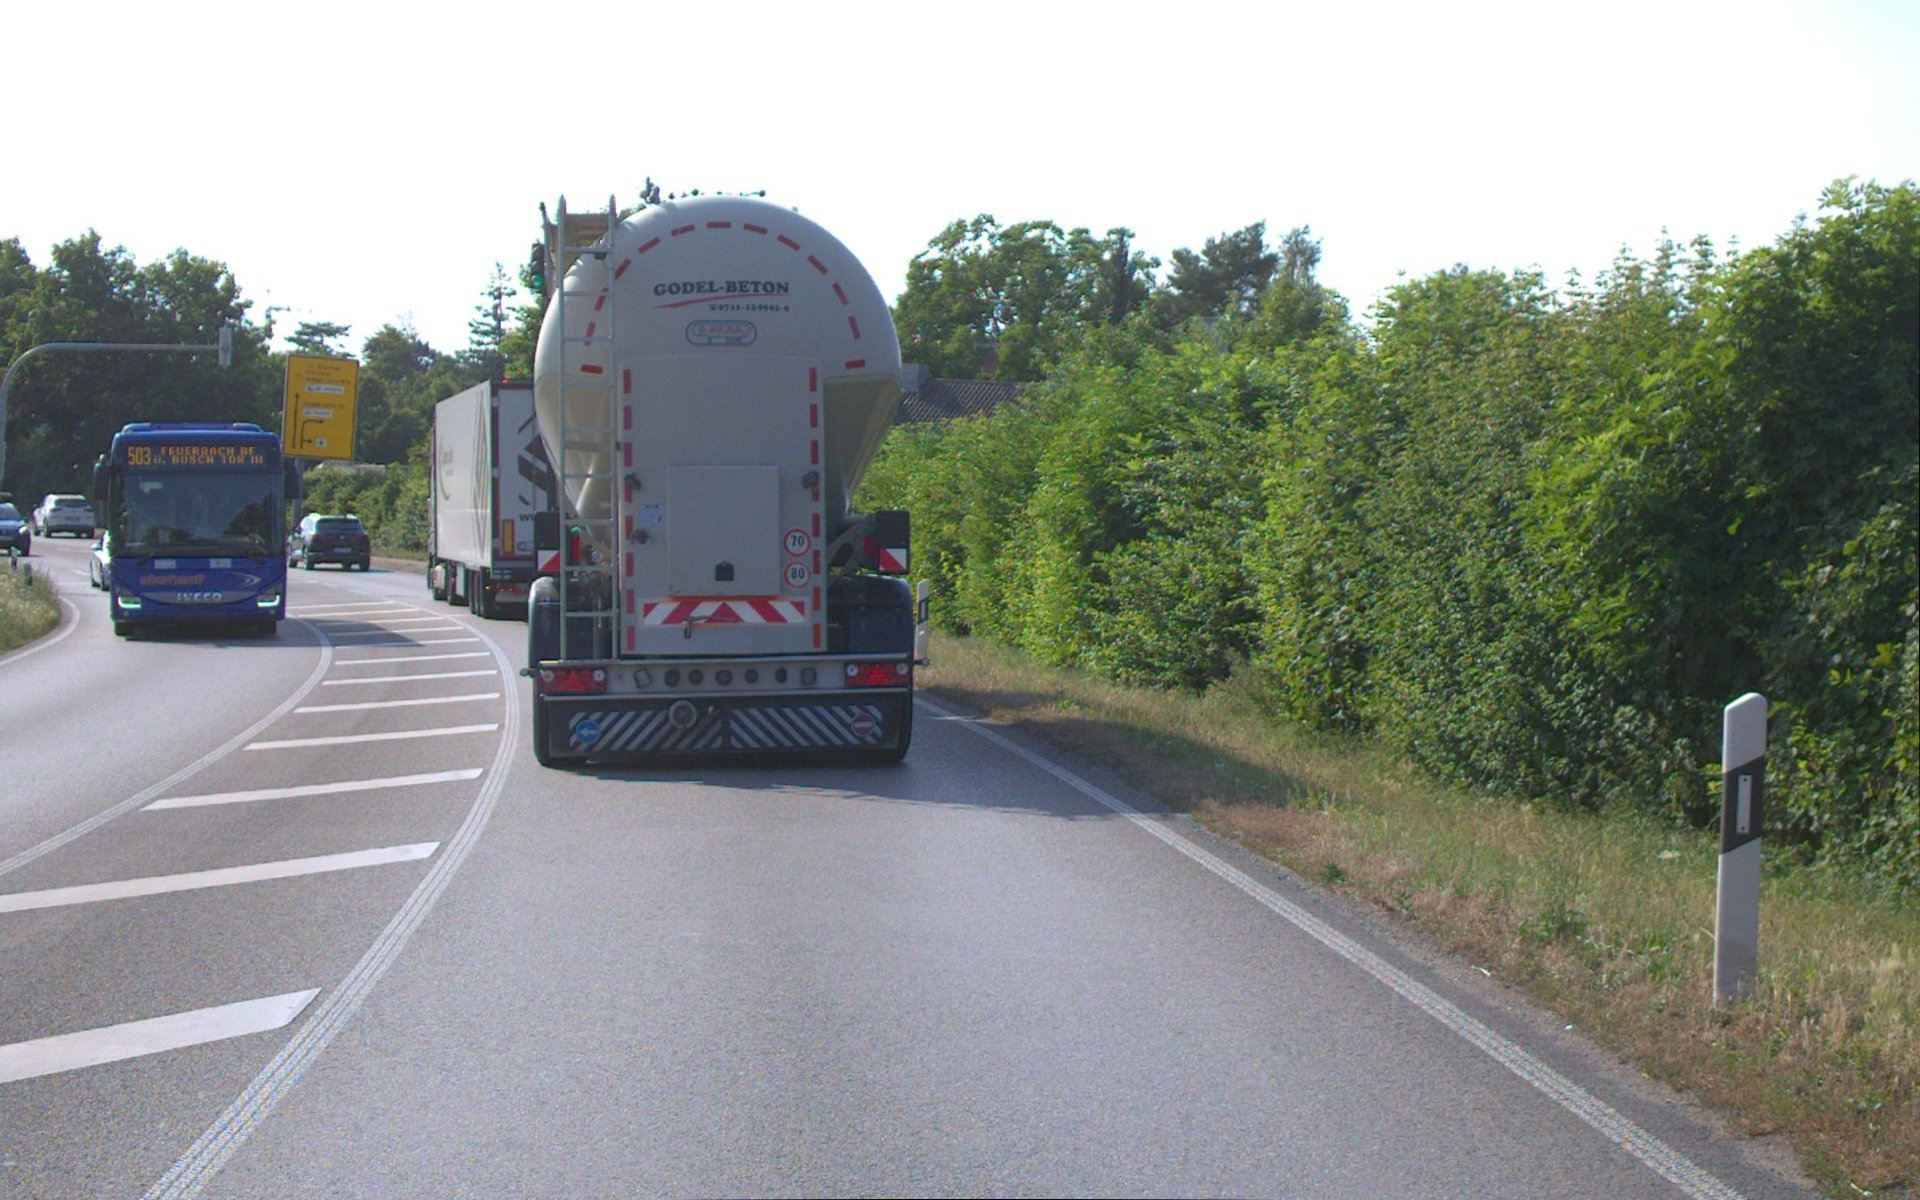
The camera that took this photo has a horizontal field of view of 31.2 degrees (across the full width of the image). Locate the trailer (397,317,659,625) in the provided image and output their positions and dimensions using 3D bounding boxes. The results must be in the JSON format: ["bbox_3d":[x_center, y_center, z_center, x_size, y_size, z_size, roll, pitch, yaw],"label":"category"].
[{"bbox_3d":[-7.731,-2.099,60.139,2.963,4.865,10.291,1,0,-16],"label":"trailer"}]

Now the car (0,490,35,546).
[{"bbox_3d":[-29.786,-2.541,106.993,1.840,1.650,4.001,1,0,-16],"label":"car"}]

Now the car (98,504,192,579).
[{"bbox_3d":[-18.690,-1.316,78.778,1.840,1.650,4.001,1,0,-17],"label":"car"}]

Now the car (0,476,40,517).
[{"bbox_3d":[-40.504,-4.425,147.558,1.519,1.650,3.873,1,0,-21],"label":"car"}]

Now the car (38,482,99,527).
[{"bbox_3d":[-34.799,-3.720,134.206,1.840,1.650,4.001,1,0,-21],"label":"car"}]

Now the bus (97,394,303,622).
[{"bbox_3d":[-12.011,-1.335,54.509,2.793,3.170,12.130,1,0,-12],"label":"bus"}]

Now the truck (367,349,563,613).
[{"bbox_3d":[-9.788,-2.237,67.435,2.962,4.870,6.432,1,0,-15],"label":"truck"}]

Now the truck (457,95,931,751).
[{"bbox_3d":[-2.198,-1.157,27.942,2.975,4.161,11.664,1,0,-5],"label":"truck"}]

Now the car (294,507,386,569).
[{"bbox_3d":[-17.330,-1.703,95.963,1.993,1.650,4.001,1,0,-18],"label":"car"}]
